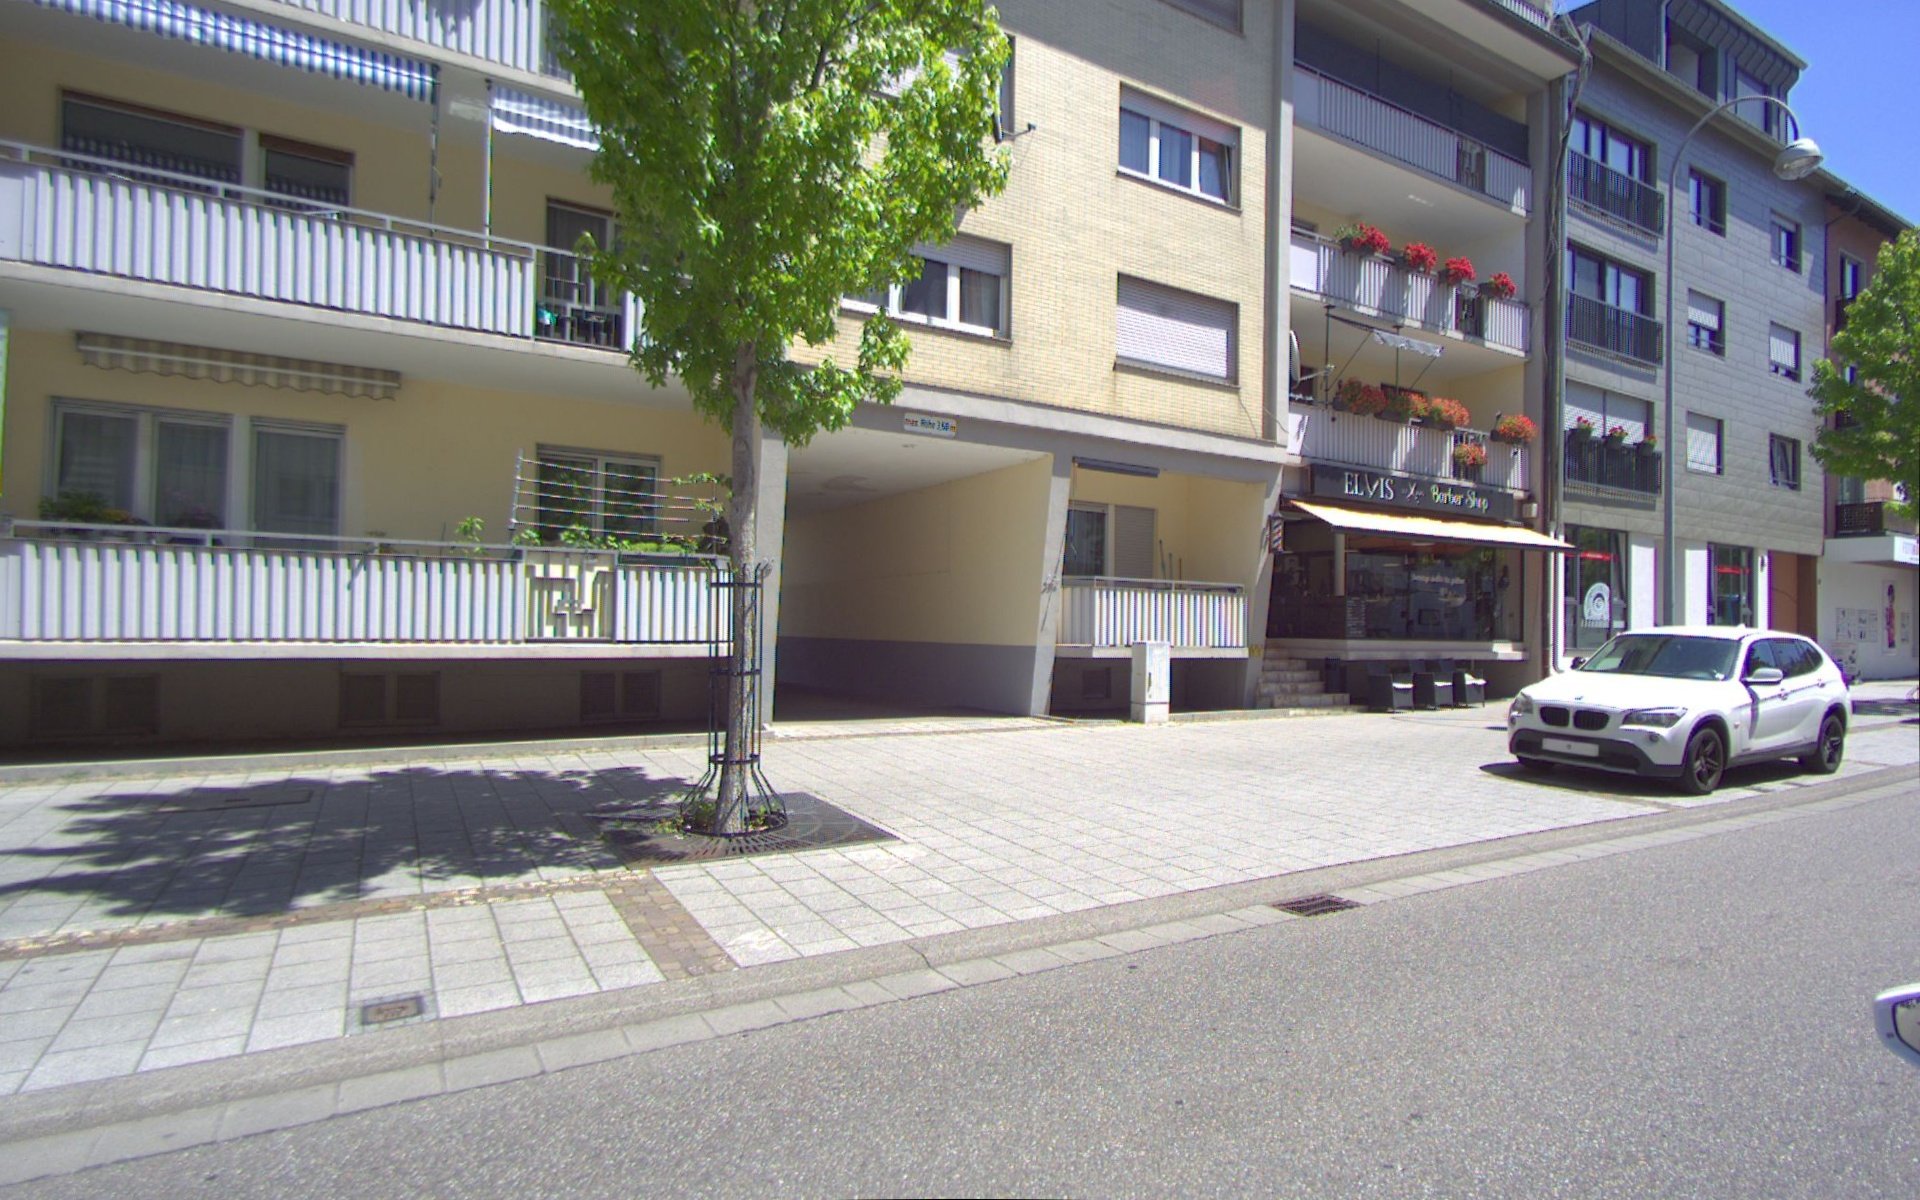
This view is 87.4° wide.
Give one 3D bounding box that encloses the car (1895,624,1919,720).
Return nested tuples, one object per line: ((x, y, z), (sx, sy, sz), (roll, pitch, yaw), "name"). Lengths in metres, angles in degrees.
((17.042, 1.181, 16.086), (4.347, 1.472, 1.745), (2, 0, -29), "car")

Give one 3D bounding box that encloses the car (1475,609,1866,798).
((7.699, 0.982, 10.796), (4.348, 1.640, 1.744), (2, 0, -30), "car")
